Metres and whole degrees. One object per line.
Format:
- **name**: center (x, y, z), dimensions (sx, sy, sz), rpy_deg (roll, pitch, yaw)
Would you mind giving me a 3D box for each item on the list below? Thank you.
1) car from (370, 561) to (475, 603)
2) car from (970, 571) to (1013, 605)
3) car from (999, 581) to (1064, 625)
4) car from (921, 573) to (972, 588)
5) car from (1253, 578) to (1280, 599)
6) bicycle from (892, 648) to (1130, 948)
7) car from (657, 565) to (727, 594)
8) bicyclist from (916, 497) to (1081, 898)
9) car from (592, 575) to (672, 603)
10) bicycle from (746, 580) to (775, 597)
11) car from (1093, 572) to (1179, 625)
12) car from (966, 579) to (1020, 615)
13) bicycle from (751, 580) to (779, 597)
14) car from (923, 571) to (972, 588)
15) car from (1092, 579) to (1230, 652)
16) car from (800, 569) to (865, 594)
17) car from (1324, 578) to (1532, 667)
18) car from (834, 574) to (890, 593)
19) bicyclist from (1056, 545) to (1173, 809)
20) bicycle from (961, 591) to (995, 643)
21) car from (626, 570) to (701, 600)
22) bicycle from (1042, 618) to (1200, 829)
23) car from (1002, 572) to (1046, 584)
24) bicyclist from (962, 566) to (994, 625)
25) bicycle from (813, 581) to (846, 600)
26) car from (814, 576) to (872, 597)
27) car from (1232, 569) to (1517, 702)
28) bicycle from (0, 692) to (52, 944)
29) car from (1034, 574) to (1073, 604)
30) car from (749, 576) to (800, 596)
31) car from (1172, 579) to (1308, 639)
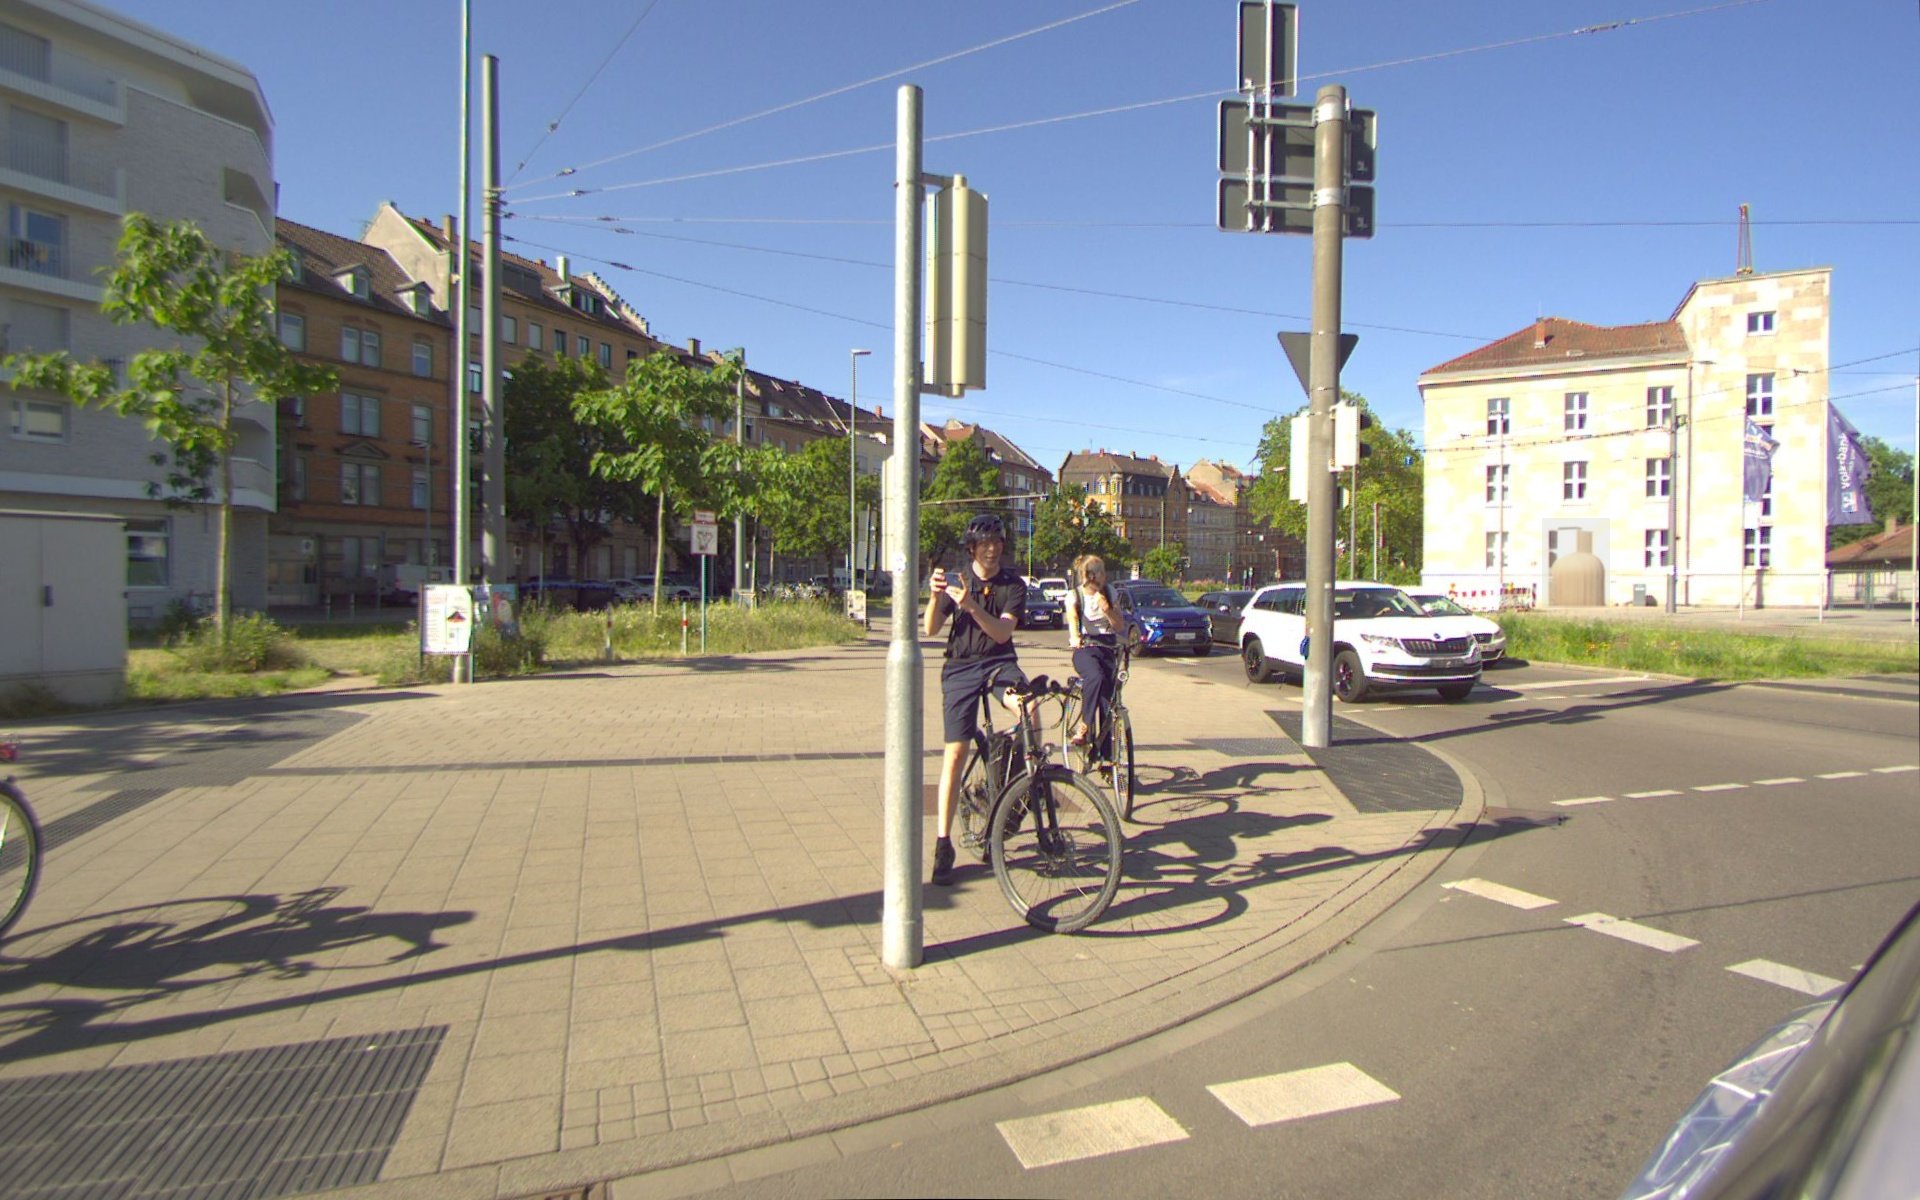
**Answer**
- **car**: center (-28.410, -0.950, 53.636), dimensions (1.982, 2.139, 4.597), rpy_deg (0, 1, 28)
- **car**: center (1.965, -0.751, 62.233), dimensions (1.846, 2.006, 4.638), rpy_deg (0, 1, 12)
- **car**: center (2.485, 0.071, 36.015), dimensions (1.554, 1.451, 3.843), rpy_deg (0, 1, -8)
- **car**: center (-1.154, -1.692, 88.537), dimensions (4.319, 1.249, 1.999), rpy_deg (0, 1, 2)
- **car**: center (26.562, -0.984, 87.615), dimensions (1.752, 1.771, 3.967), rpy_deg (0, 1, 25)
- **bicycle**: center (0.157, 0.845, 5.072), dimensions (0.593, 1.050, 1.900), rpy_deg (1, 2, -16)
- **car**: center (-16.278, -1.239, 61.568), dimensions (3.918, 1.682, 2.003), rpy_deg (0, 1, -8)
- **bicyclist**: center (0.160, 0.429, 5.087), dimensions (0.538, 1.820, 0.908), rpy_deg (1, 2, -16)
- **car**: center (-17.997, -0.622, 55.651), dimensions (3.918, 1.482, 2.003), rpy_deg (0, 1, -8)
- **bicycle**: center (-12.312, -0.715, 62.537), dimensions (1.736, 1.037, 0.450), rpy_deg (0, 1, 15)
- **car**: center (6.033, -0.095, 35.215), dimensions (1.734, 1.705, 4.334), rpy_deg (-1, 1, -7)
- **car**: center (1.464, -0.163, 46.439), dimensions (1.837, 1.575, 4.006), rpy_deg (0, 1, -8)
- **bicycle**: center (-12.189, -0.716, 63.291), dimensions (1.736, 1.037, 0.450), rpy_deg (0, 1, 15)
- **car**: center (-1.115, -1.871, 91.342), dimensions (4.319, 1.479, 1.999), rpy_deg (0, 1, 2)
- **car**: center (4.634, 0.288, 23.906), dimensions (1.836, 1.575, 4.008), rpy_deg (0, 1, -11)
- **car**: center (-9.405, -1.375, 74.725), dimensions (4.696, 1.793, 1.735), rpy_deg (0, 1, -8)
- **car**: center (8.828, 0.339, 19.474), dimensions (1.635, 1.448, 3.843), rpy_deg (-3, 2, -11)
- **car**: center (-7.789, -1.307, 80.248), dimensions (4.310, 1.479, 2.003), rpy_deg (0, 1, -9)
- **bicyclist**: center (1.030, 0.473, 6.932), dimensions (0.584, 1.674, 1.004), rpy_deg (1, 2, -2)
- **bicycle**: center (0.417, 0.382, 24.482), dimensions (0.683, 1.118, 2.013), rpy_deg (2, 2, -2)
- **car**: center (-17.013, -0.861, 58.255), dimensions (3.918, 1.682, 2.003), rpy_deg (0, 1, -8)
- **bicycle**: center (1.029, 0.751, 6.977), dimensions (0.683, 1.118, 2.013), rpy_deg (1, 2, -2)
- **car**: center (6.796, -2.349, 107.045), dimensions (4.311, 1.225, 2.003), rpy_deg (0, 1, -8)
- **bicyclist**: center (0.435, -0.123, 24.627), dimensions (0.683, 1.394, 0.738), rpy_deg (2, 2, -2)
- **bicycle**: center (-7.136, -0.521, 55.363), dimensions (1.729, 1.037, 0.568), rpy_deg (-1, 1, -37)
- **car**: center (-8.987, -1.056, 77.689), dimensions (4.310, 1.525, 2.003), rpy_deg (0, 1, -9)
- **car**: center (5.908, 0.400, 15.088), dimensions (1.836, 1.650, 4.346), rpy_deg (-1, 1, -11)
- **bicycle**: center (-4.050, 0.904, 3.414), dimensions (0.682, 0.966, 1.711), rpy_deg (1, 2, -11)
- **car**: center (5.006, -0.605, 54.606), dimensions (1.840, 1.575, 4.000), rpy_deg (0, 1, 1)
- **car**: center (-12.635, -0.967, 69.178), dimensions (3.394, 1.349, 1.735), rpy_deg (0, 1, -8)
- **car**: center (7.437, 0.169, 27.426), dimensions (1.803, 1.448, 4.492), rpy_deg (-1, 1, -9)
